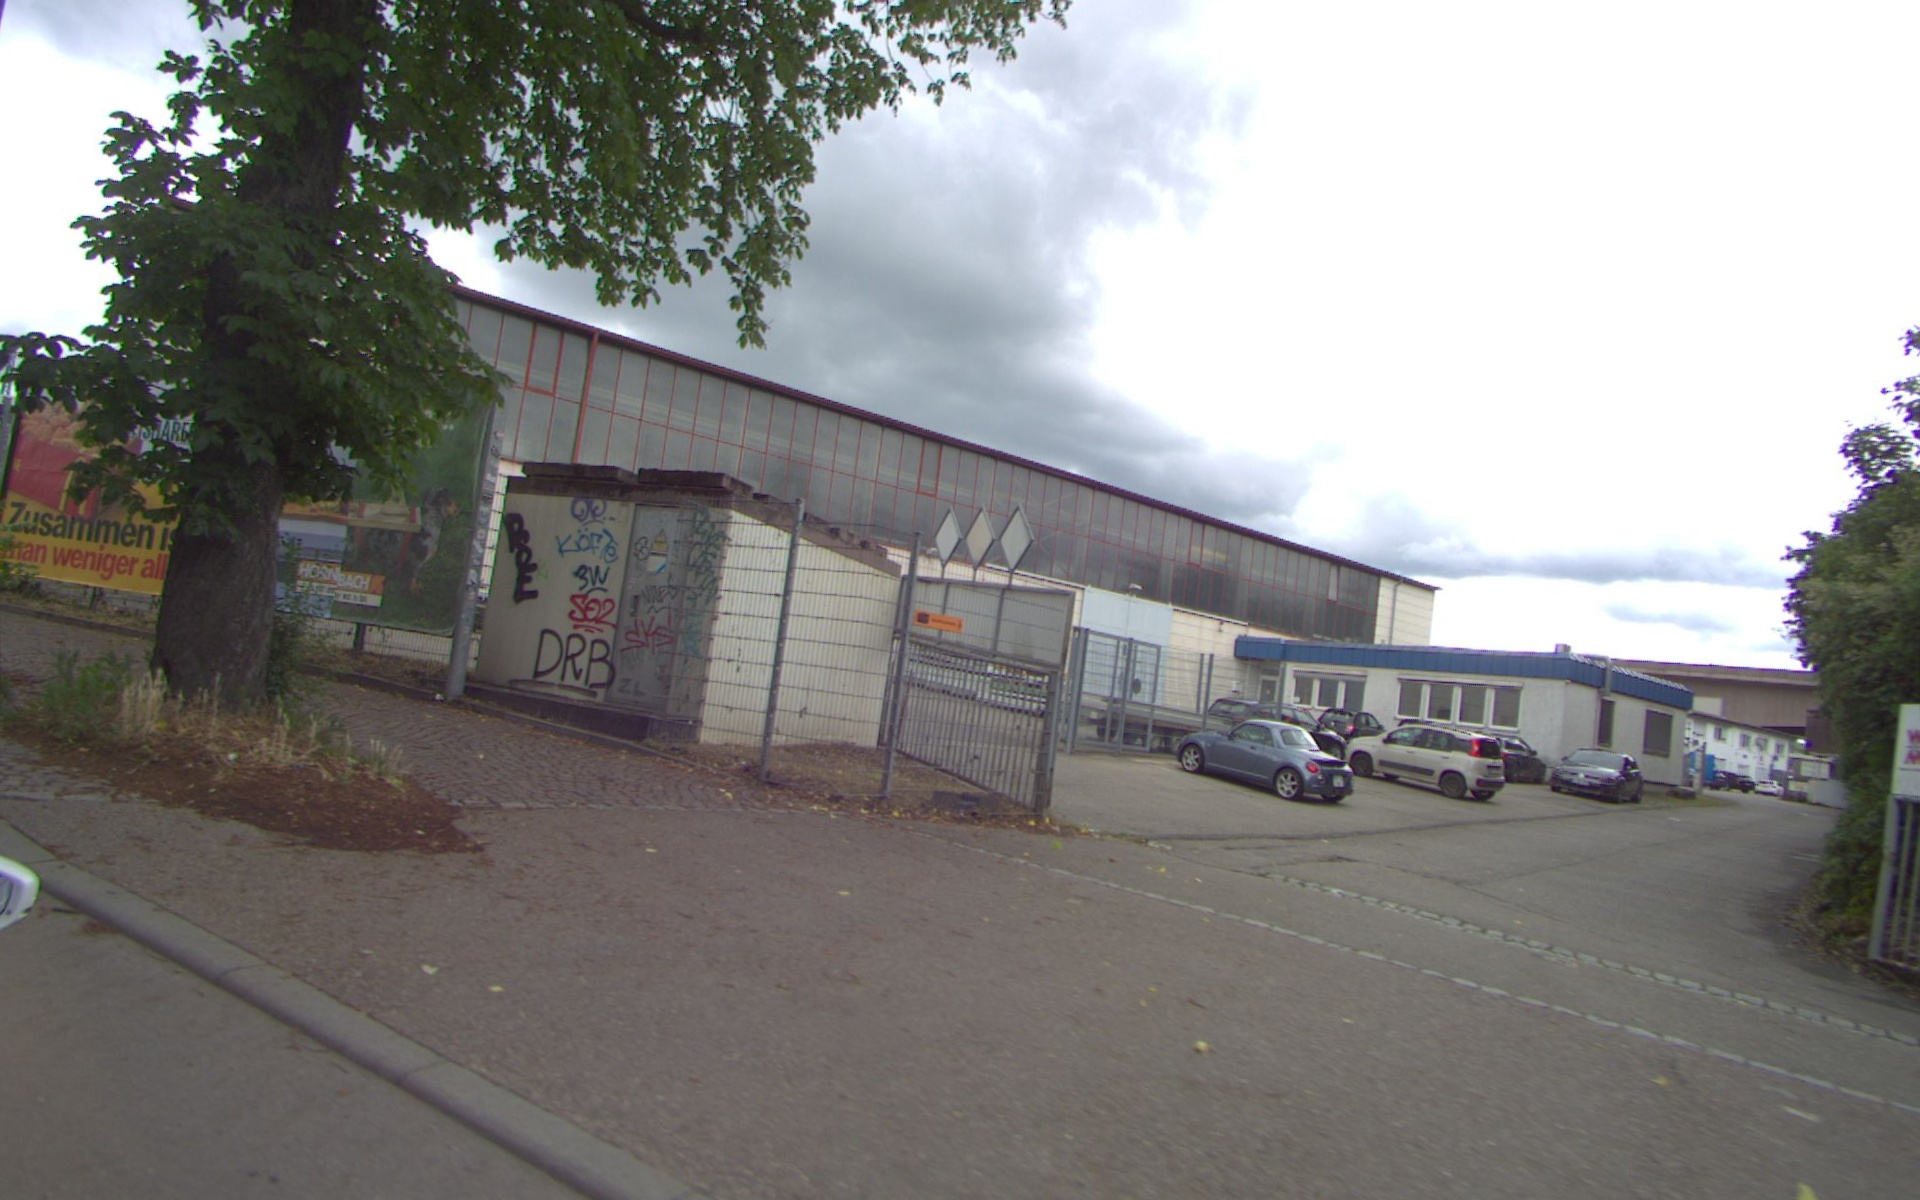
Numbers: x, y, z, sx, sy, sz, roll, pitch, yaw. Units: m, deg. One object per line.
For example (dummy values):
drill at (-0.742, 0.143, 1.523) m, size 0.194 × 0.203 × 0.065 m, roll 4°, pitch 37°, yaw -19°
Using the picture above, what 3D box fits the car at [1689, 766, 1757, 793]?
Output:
car at (60.691, 14.260, 80.046) m, size 1.922 × 1.550 × 3.981 m, roll 9°, pitch -5°, yaw -42°

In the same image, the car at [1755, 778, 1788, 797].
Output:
car at (73.945, 17.091, 91.642) m, size 3.699 × 1.346 × 1.513 m, roll 11°, pitch -3°, yaw -40°

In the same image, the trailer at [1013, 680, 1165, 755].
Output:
trailer at (2.794, 2.558, 21.843) m, size 2.617 × 1.149 × 1.834 m, roll 11°, pitch -4°, yaw -33°

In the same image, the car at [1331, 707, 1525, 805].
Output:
car at (11.058, 3.671, 23.992) m, size 1.553 × 1.550 × 3.771 m, roll 9°, pitch -1°, yaw -37°

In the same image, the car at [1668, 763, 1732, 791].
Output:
car at (56.442, 13.483, 76.775) m, size 1.523 × 1.346 × 3.676 m, roll 11°, pitch -3°, yaw -44°

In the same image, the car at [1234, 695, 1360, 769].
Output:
car at (8.783, 3.446, 26.167) m, size 3.044 × 1.458 × 1.327 m, roll 11°, pitch -2°, yaw -31°

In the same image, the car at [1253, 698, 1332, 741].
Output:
car at (13.111, 4.715, 39.593) m, size 3.290 × 1.222 × 1.323 m, roll 11°, pitch -3°, yaw -40°

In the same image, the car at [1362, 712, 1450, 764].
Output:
car at (15.252, 4.716, 34.343) m, size 3.290 × 1.346 × 1.323 m, roll 11°, pitch -3°, yaw -40°

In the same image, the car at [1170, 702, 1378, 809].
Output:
car at (5.725, 2.832, 18.650) m, size 1.460 × 1.267 × 3.335 m, roll 9°, pitch -1°, yaw -37°

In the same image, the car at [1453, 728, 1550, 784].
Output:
car at (17.298, 5.003, 32.082) m, size 3.664 × 1.346 × 1.512 m, roll 11°, pitch -3°, yaw -43°

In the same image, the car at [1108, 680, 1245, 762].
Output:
car at (5.032, 2.817, 23.343) m, size 2.829 × 1.456 × 1.360 m, roll 11°, pitch -2°, yaw -33°

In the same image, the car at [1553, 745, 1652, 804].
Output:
car at (19.169, 5.204, 29.968) m, size 3.703 × 1.346 × 1.512 m, roll 11°, pitch -3°, yaw -43°

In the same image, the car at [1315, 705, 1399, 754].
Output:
car at (14.513, 4.754, 36.731) m, size 3.290 × 1.346 × 1.323 m, roll 11°, pitch -3°, yaw -40°
